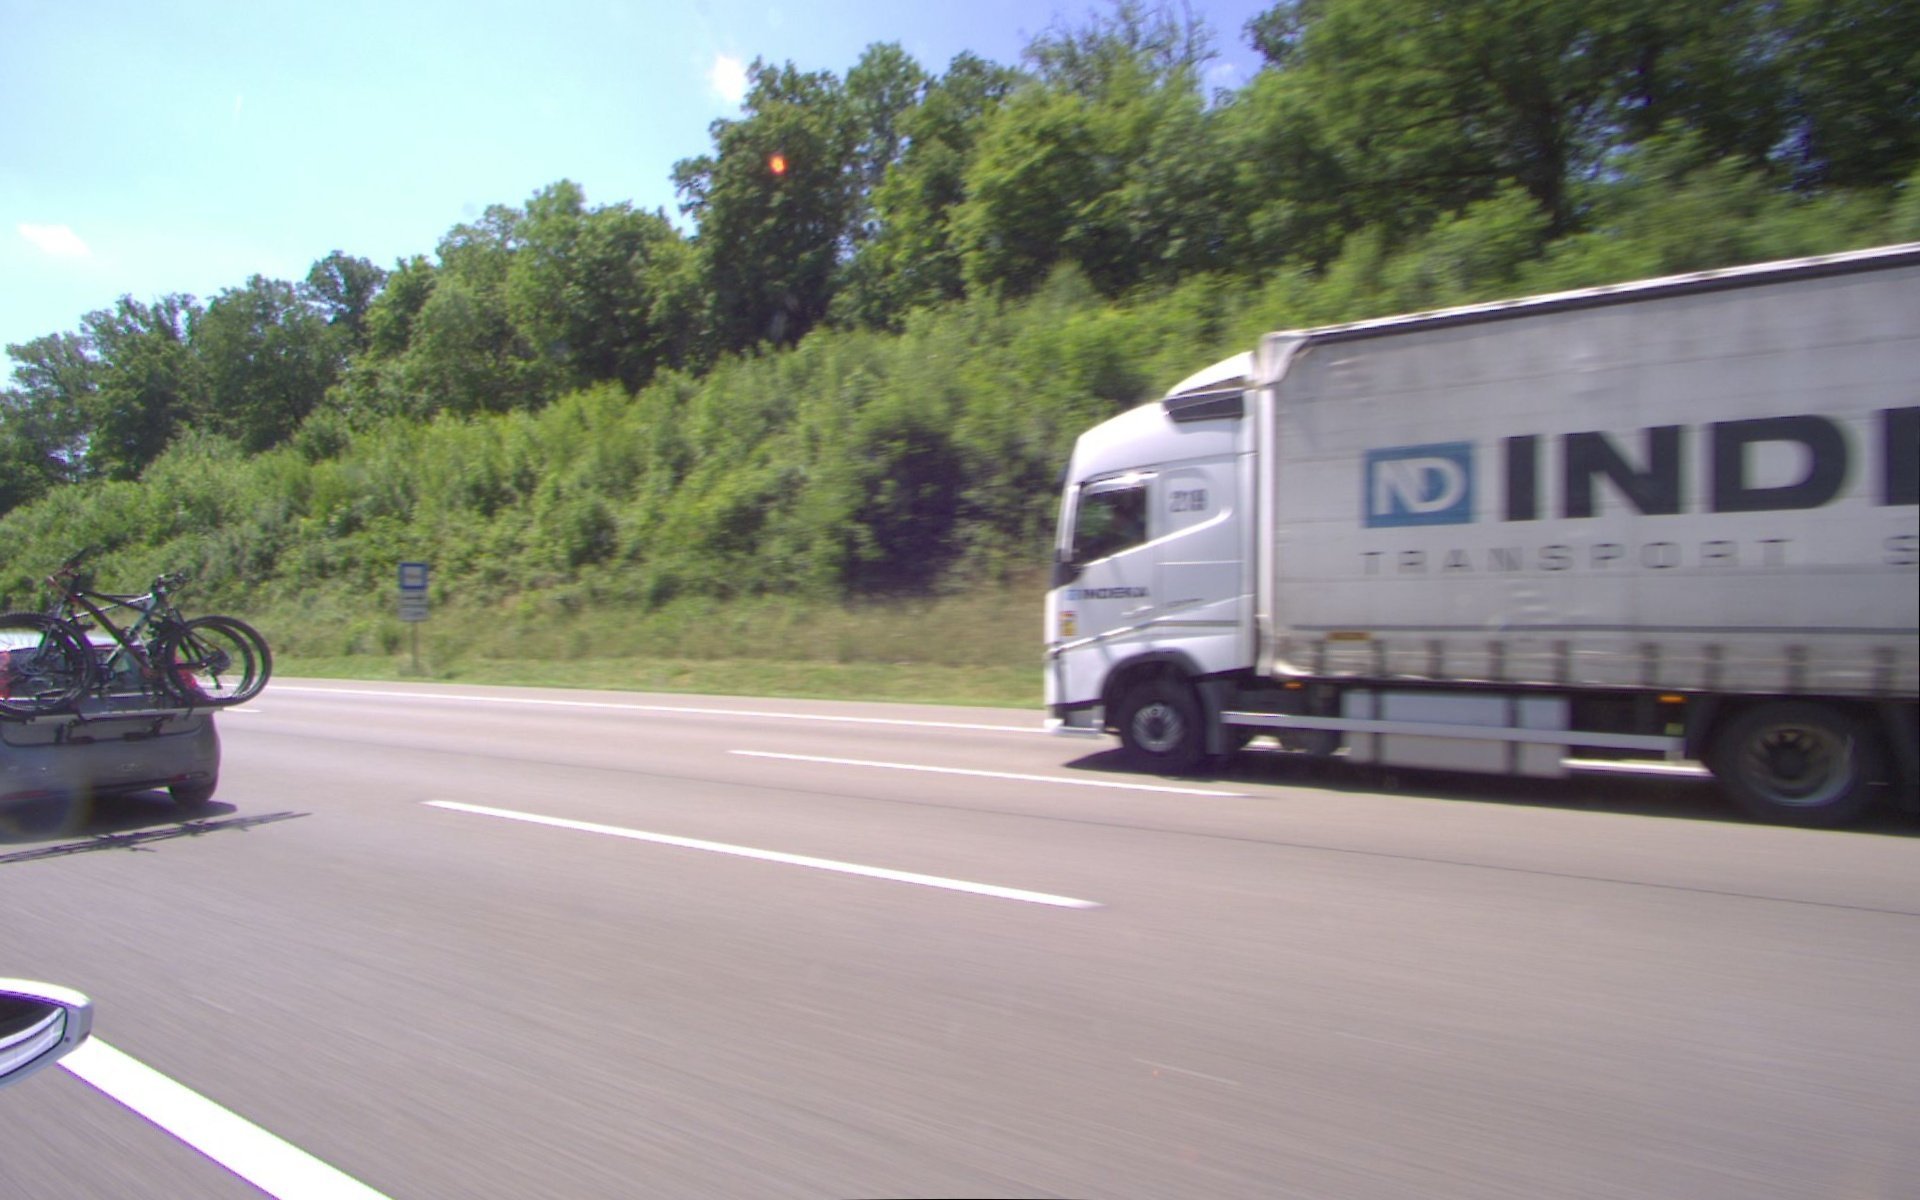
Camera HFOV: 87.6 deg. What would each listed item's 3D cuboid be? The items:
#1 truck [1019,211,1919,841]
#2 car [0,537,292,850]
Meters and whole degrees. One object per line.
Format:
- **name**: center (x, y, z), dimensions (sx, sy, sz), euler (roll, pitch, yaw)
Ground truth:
- **truck**: center (5.879, -0.428, 8.652), dimensions (10.814, 4.214, 2.717), euler (-1, -2, 33)
- **car**: center (-7.953, 0.658, 8.600), dimensions (4.716, 2.080, 1.957), euler (-1, 0, 32)
